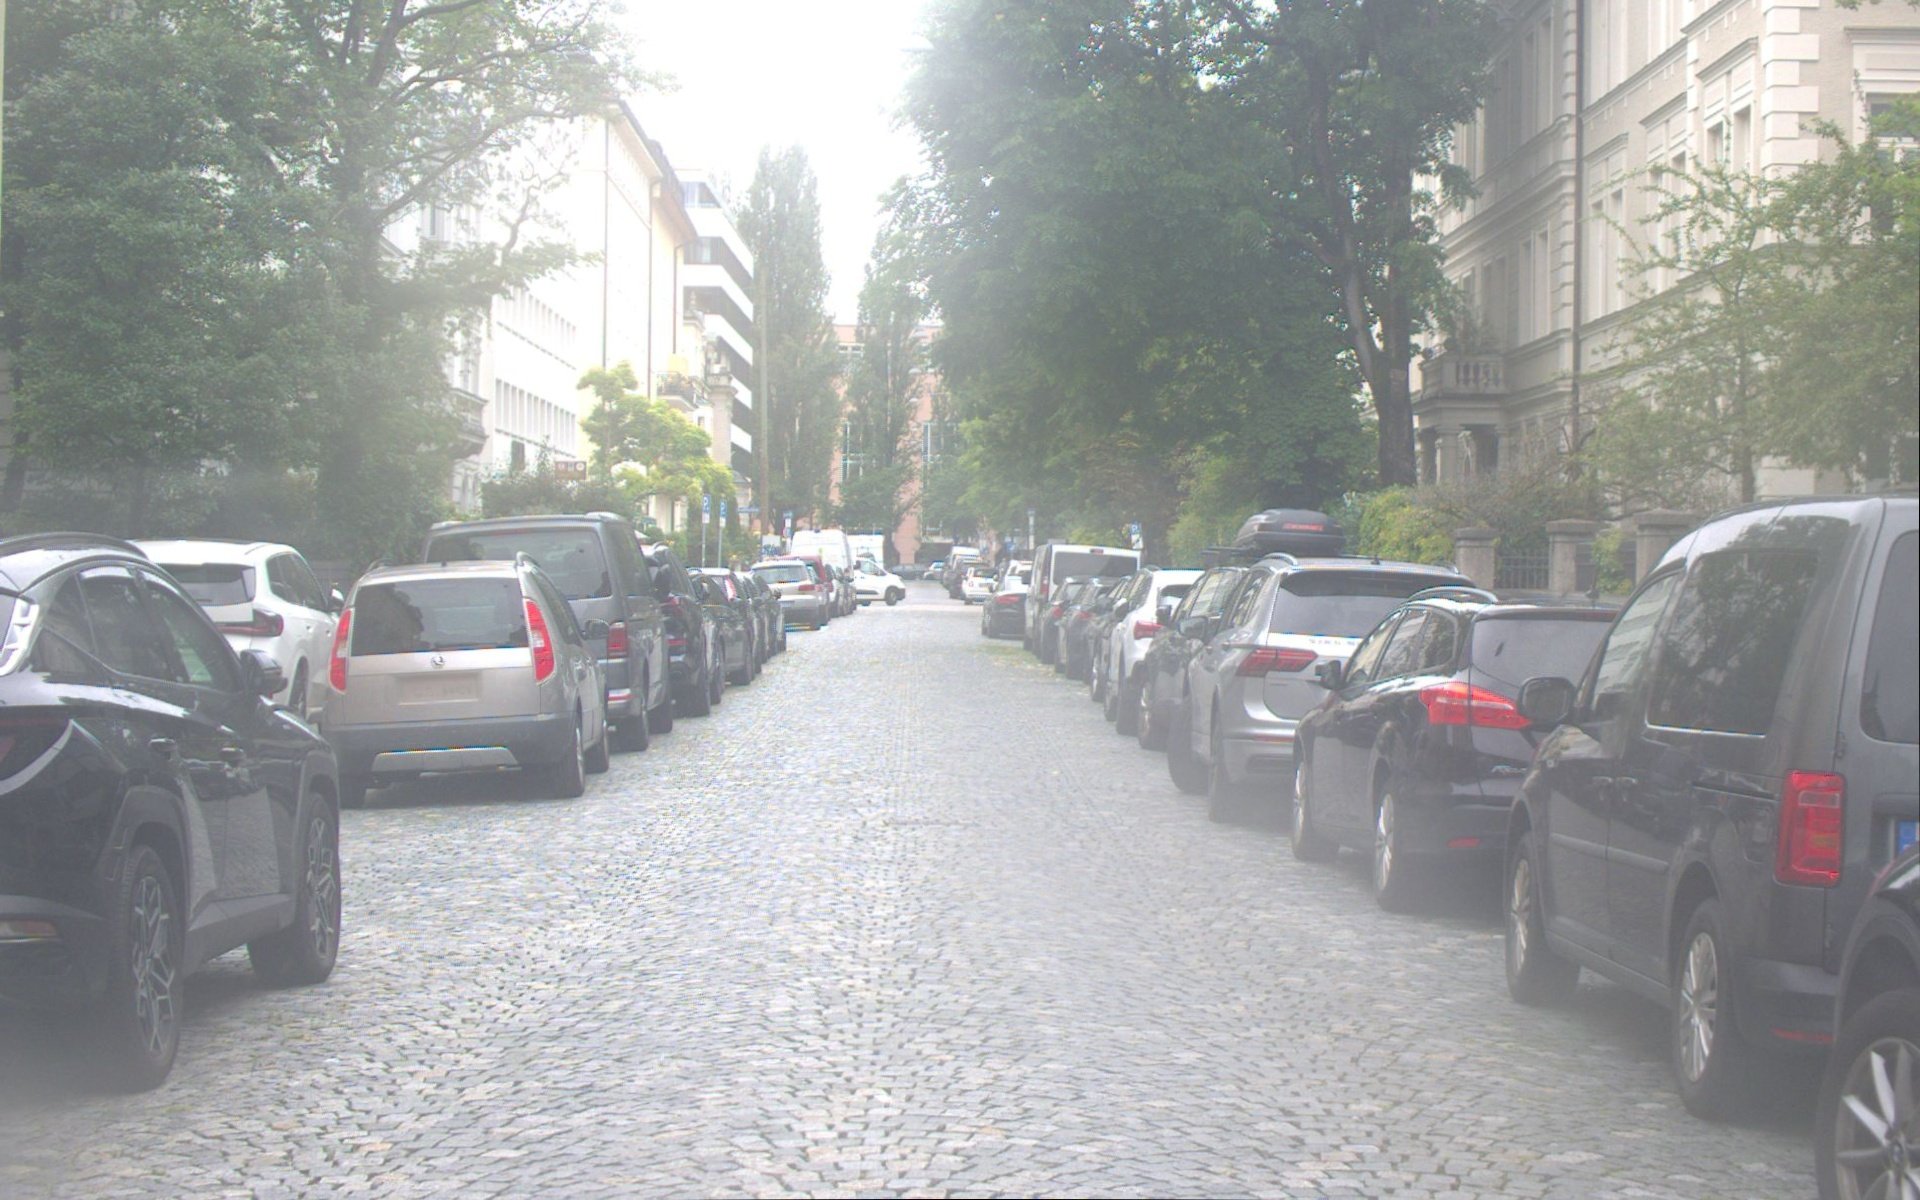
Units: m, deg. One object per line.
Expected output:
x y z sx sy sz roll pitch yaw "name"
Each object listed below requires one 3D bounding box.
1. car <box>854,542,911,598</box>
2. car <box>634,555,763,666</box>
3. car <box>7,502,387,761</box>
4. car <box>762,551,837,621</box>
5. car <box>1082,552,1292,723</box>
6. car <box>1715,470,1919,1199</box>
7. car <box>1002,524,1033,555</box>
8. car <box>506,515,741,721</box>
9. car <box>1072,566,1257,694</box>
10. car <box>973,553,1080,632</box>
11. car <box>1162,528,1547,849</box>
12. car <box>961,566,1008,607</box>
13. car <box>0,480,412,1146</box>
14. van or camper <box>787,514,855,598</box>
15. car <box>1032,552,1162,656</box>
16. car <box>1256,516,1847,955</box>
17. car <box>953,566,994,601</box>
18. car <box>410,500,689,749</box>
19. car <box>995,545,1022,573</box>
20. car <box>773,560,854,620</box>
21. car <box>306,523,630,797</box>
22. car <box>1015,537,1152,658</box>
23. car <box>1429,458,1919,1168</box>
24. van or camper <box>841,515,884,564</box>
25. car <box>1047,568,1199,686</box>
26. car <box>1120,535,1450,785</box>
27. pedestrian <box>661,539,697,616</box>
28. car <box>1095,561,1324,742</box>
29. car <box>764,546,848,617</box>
-2.837 -1.103 126.948 1.993 2.007 4.000 1 0 0 "car"
-3.514 0.118 46.553 1.662 1.439 4.172 0 1 -4 "car"
-5.850 0.201 26.931 1.945 1.729 4.658 4 0 -2 "car"
-4.318 -0.392 92.893 1.873 1.770 4.123 -2 1 -2 "car"
2.441 0.371 38.061 1.873 1.664 4.657 4 0 0 "car"
2.783 0.665 5.664 1.860 1.696 4.813 4 0 -1 "car"
3.945 -4.181 237.404 1.993 2.007 4.000 1 0 0 "car"
-3.414 0.143 35.824 1.993 1.910 5.178 -2 1 -1 "car"
2.545 0.348 43.673 1.693 1.435 4.062 4 0 -5 "car"
1.373 -0.181 72.753 1.873 1.498 4.512 4 0 -3 "car"
2.386 0.488 22.003 1.873 1.729 4.891 3 0 1 "car"
0.933 -0.538 134.444 1.790 1.515 4.000 1 1 0 "car"
-3.193 0.579 11.370 1.917 1.729 4.755 -3 0 0 "car"
-4.566 -1.437 113.341 1.993 2.643 4.000 -2 0 0 "van or camper"
2.158 0.045 55.112 1.837 1.485 4.421 4 0 0 "car"
2.727 0.557 17.013 1.873 1.729 4.659 5 0 -2 "car"
0.619 -0.753 154.985 1.790 1.515 4.000 1 1 0 "car"
-3.396 0.166 29.258 1.873 1.910 4.828 -1 1 -1 "car"
3.702 -3.131 262.060 1.993 2.007 4.000 1 0 0 "car"
-4.174 -0.298 98.406 1.873 1.574 4.207 3 0 3 "car"
-3.393 0.360 24.457 1.865 1.729 4.404 -1 1 -3 "car"
2.126 -0.075 60.656 1.873 1.922 5.165 4 0 -3 "car"
2.863 0.578 11.105 1.788 1.790 4.510 5 0 -2 "car"
-5.585 -3.452 197.898 2.256 2.733 5.098 2 0 0 "van or camper"
2.227 0.341 48.068 1.713 1.467 4.269 4 0 -2 "car"
2.532 0.419 27.950 1.873 1.729 4.748 4 0 -3 "car"
-7.098 -0.580 86.847 0.792 1.911 0.759 2 0 -1 "pedestrian"
2.324 0.437 33.083 1.873 1.485 4.617 3 1 1 "car"
-3.609 -0.449 80.362 1.873 1.574 4.256 -2 1 -3 "car"
